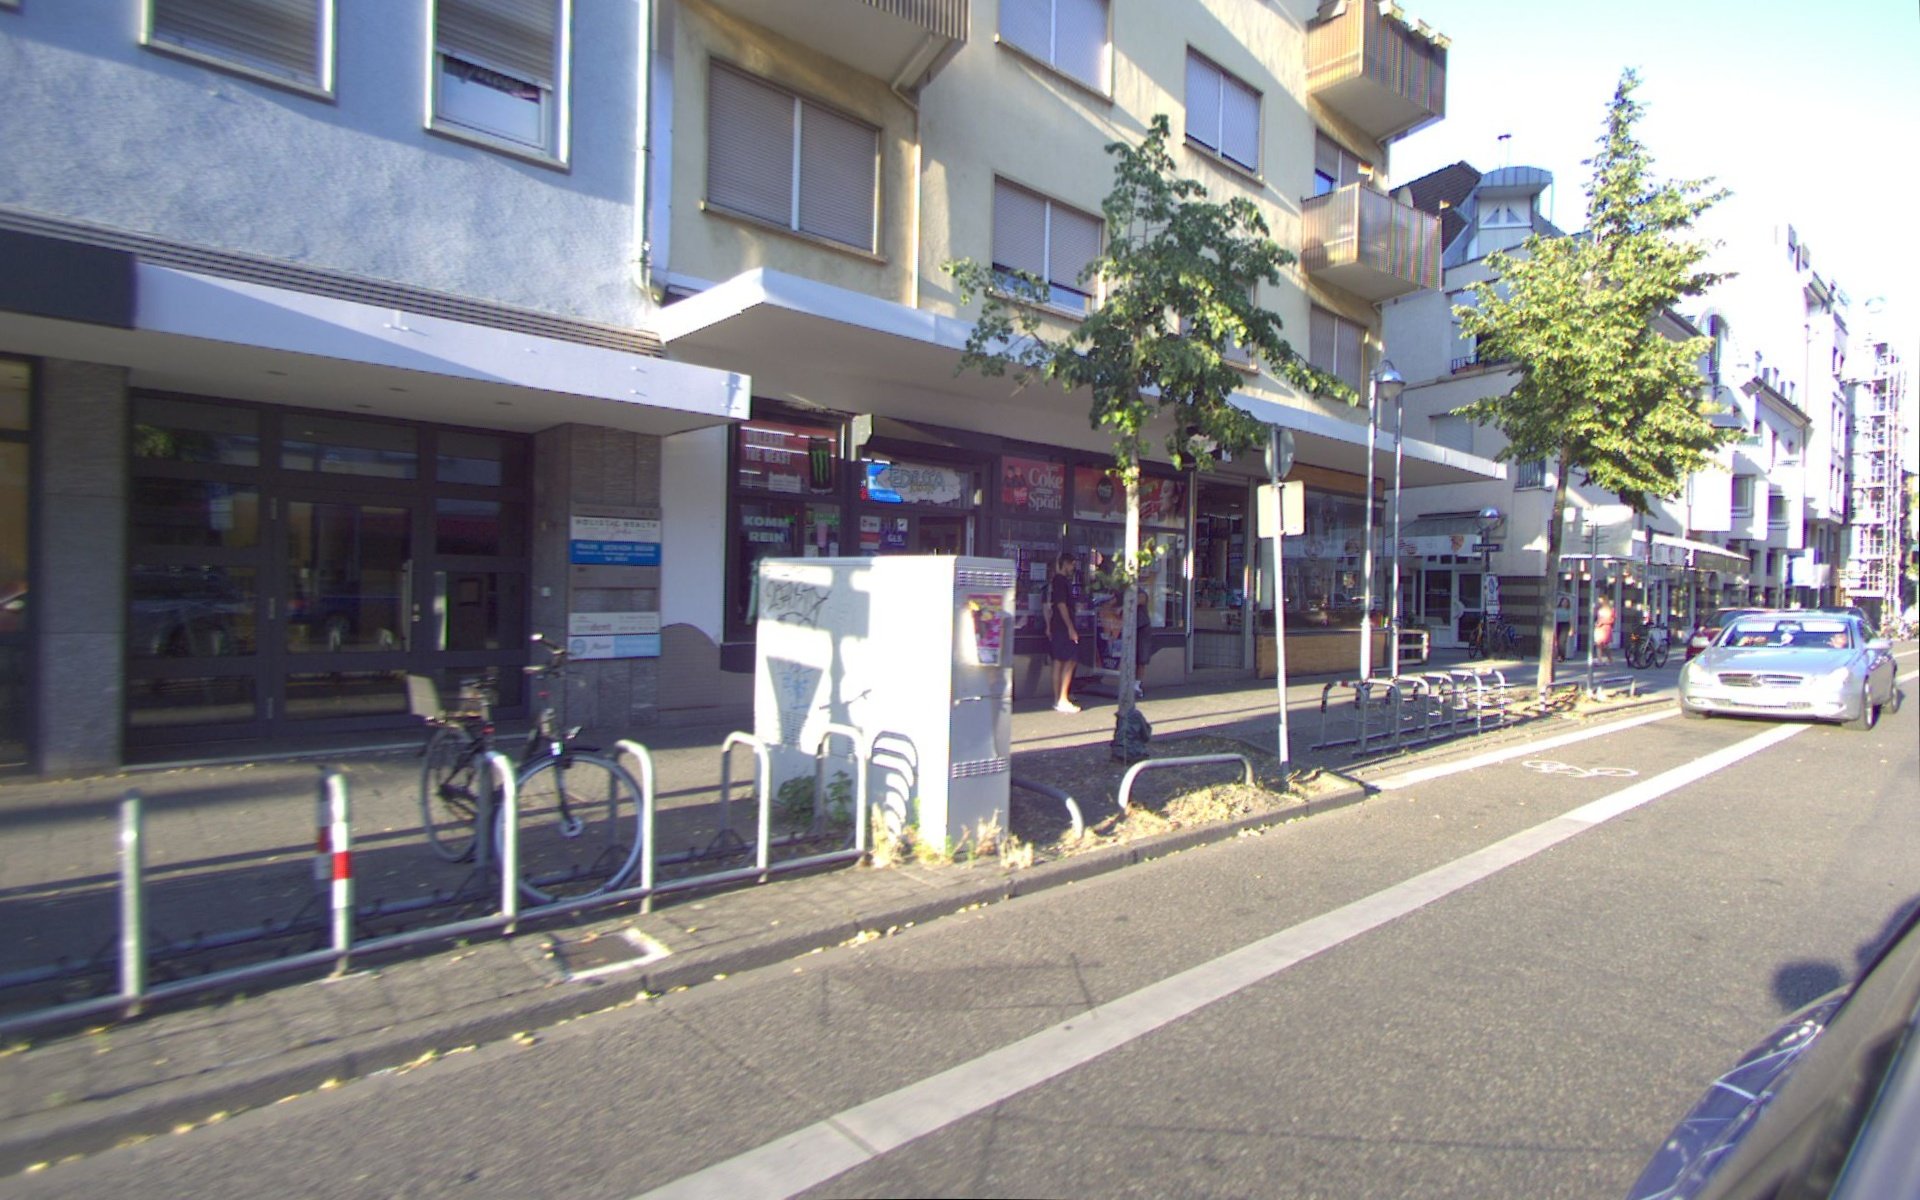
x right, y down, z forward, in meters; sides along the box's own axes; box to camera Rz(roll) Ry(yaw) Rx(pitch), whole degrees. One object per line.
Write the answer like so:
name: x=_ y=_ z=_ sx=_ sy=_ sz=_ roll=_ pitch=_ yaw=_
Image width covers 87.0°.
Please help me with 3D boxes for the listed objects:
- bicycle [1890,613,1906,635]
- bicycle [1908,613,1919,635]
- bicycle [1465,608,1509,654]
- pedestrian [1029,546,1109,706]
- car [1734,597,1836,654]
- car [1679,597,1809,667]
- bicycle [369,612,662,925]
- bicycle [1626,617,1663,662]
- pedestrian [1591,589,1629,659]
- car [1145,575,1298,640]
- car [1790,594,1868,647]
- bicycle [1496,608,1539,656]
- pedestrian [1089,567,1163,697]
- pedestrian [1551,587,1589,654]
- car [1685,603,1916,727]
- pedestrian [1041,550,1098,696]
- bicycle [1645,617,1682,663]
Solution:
bicycle: x=44.371 y=1.123 z=47.862 sx=0.468 sy=0.970 sz=1.890 roll=2 pitch=1 yaw=41
bicycle: x=44.696 y=1.116 z=47.351 sx=0.468 sy=0.970 sz=1.889 roll=2 pitch=1 yaw=43
bicycle: x=12.606 y=0.720 z=24.198 sx=0.391 sy=1.046 sz=1.814 roll=1 pitch=1 yaw=45
pedestrian: x=1.291 y=0.300 z=12.052 sx=0.639 sy=1.830 sz=0.709 roll=1 pitch=-2 yaw=-41
car: x=23.647 y=0.692 z=28.965 sx=3.685 sy=1.439 sz=1.725 roll=0 pitch=2 yaw=-43
car: x=18.411 y=0.693 z=23.709 sx=3.963 sy=1.439 sz=1.725 roll=0 pitch=2 yaw=-43
bicycle: x=-2.229 y=0.701 z=4.938 sx=1.909 sy=1.218 sz=0.463 roll=2 pitch=1 yaw=39
bicycle: x=15.620 y=0.890 z=23.069 sx=0.391 sy=0.968 sz=1.613 roll=1 pitch=1 yaw=45
pedestrian: x=14.695 y=0.536 z=22.895 sx=0.544 sy=1.549 sz=0.541 roll=1 pitch=0 yaw=-36
car: x=7.400 y=0.148 z=29.032 sx=1.819 sy=1.631 sz=4.189 roll=1 pitch=2 yaw=-29
car: x=28.287 y=0.640 z=32.913 sx=2.755 sy=1.568 sz=1.570 roll=0 pitch=2 yaw=-43
bicycle: x=13.058 y=0.736 z=23.693 sx=0.391 sy=1.063 sz=1.814 roll=1 pitch=1 yaw=45
pedestrian: x=2.226 y=0.416 z=13.565 sx=0.764 sy=1.681 sz=0.643 roll=1 pitch=-2 yaw=-41
pedestrian: x=14.366 y=0.476 z=23.824 sx=0.638 sy=1.549 sz=0.541 roll=1 pitch=0 yaw=-36
car: x=11.355 y=0.743 z=13.556 sx=4.474 sy=1.395 sz=1.802 roll=0 pitch=-1 yaw=-43
pedestrian: x=1.407 y=0.289 z=12.962 sx=0.577 sy=1.806 sz=0.523 roll=-1 pitch=-2 yaw=29
bicycle: x=15.871 y=0.885 z=22.824 sx=0.391 sy=0.968 sz=1.589 roll=1 pitch=1 yaw=45
